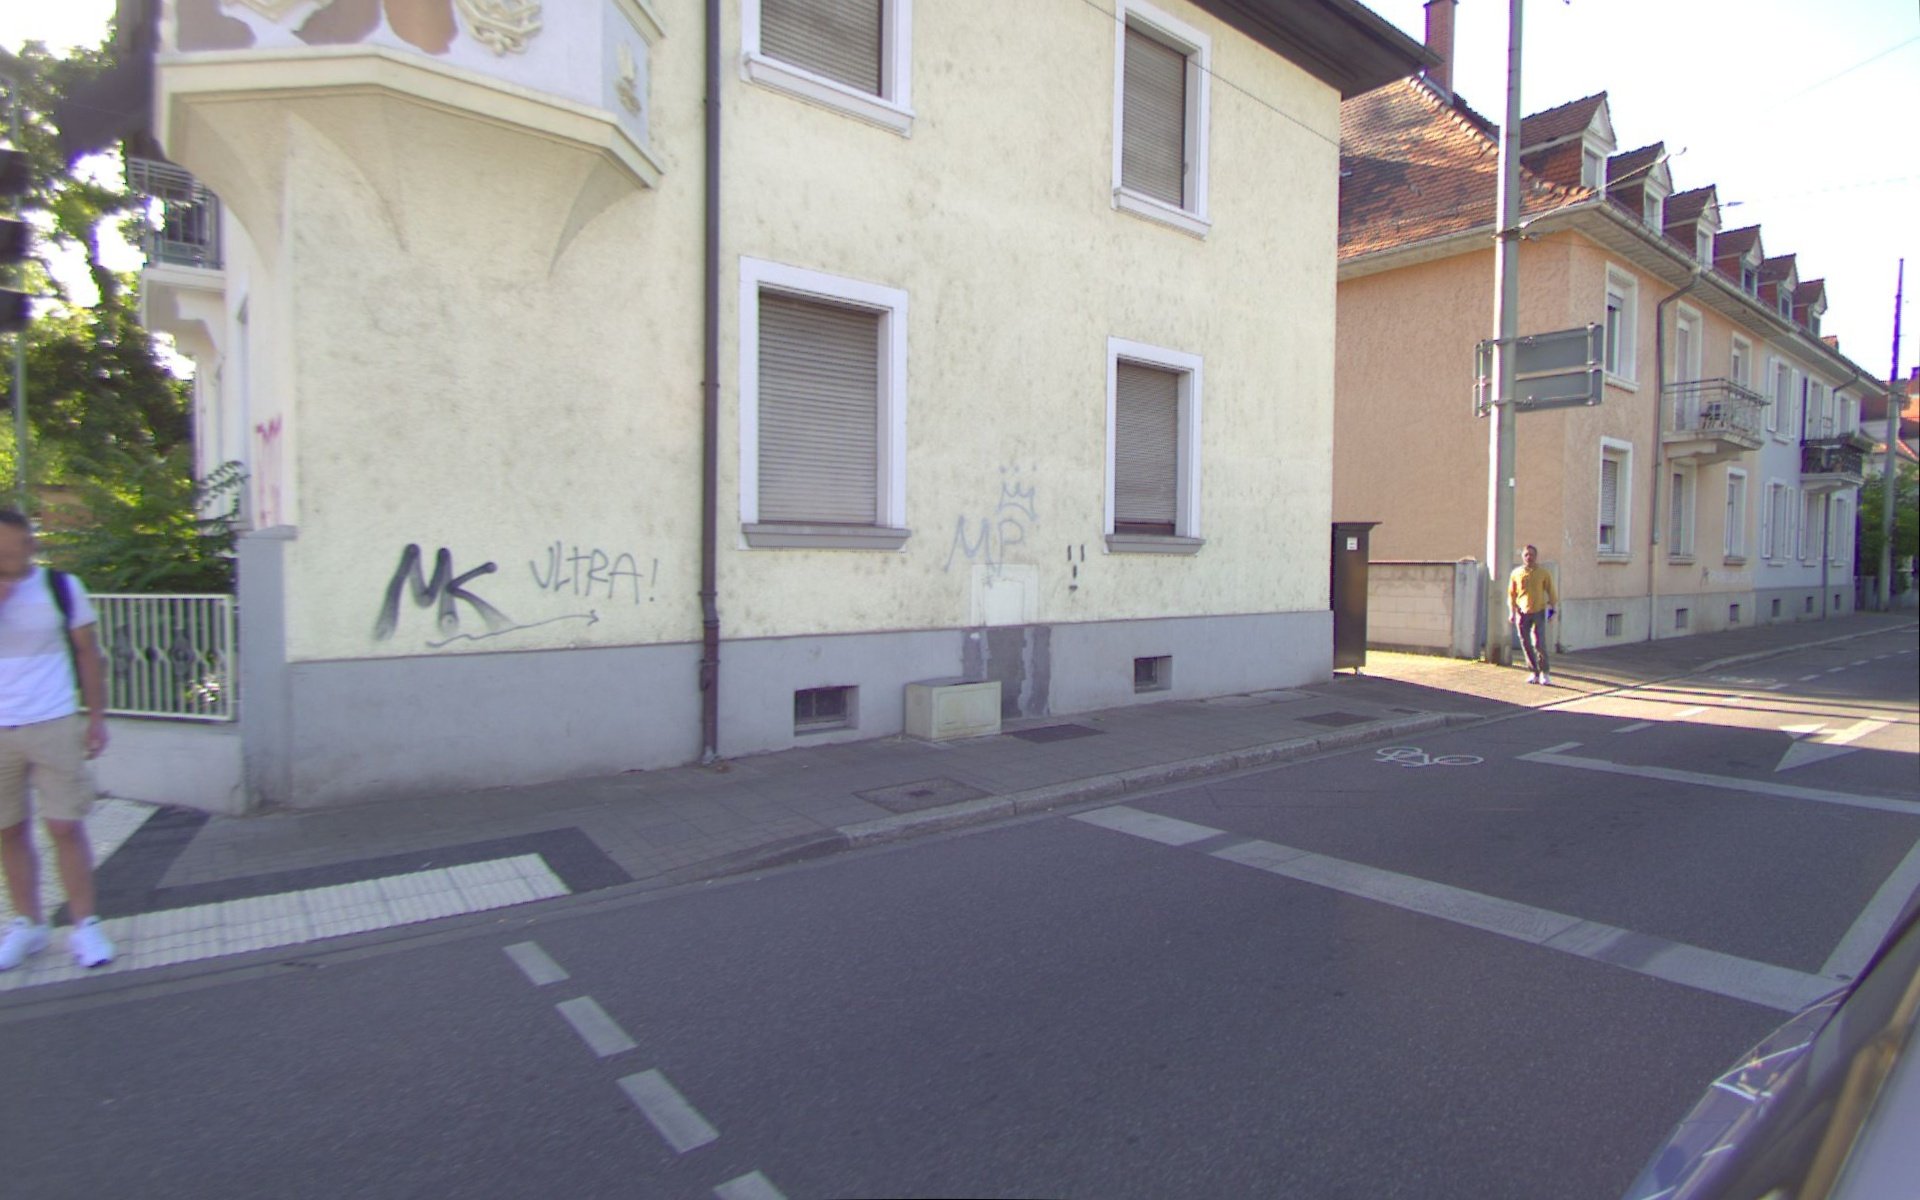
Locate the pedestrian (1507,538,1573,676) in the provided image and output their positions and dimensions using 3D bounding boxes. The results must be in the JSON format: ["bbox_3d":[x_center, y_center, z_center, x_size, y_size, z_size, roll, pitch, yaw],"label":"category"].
[{"bbox_3d":[7.712,0.075,13.452,0.478,1.782,0.602,-1,2,-41],"label":"pedestrian"}]

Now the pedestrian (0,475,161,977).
[{"bbox_3d":[-3.498,0.417,3.839,0.662,1.760,0.689,-2,7,-41],"label":"pedestrian"}]
